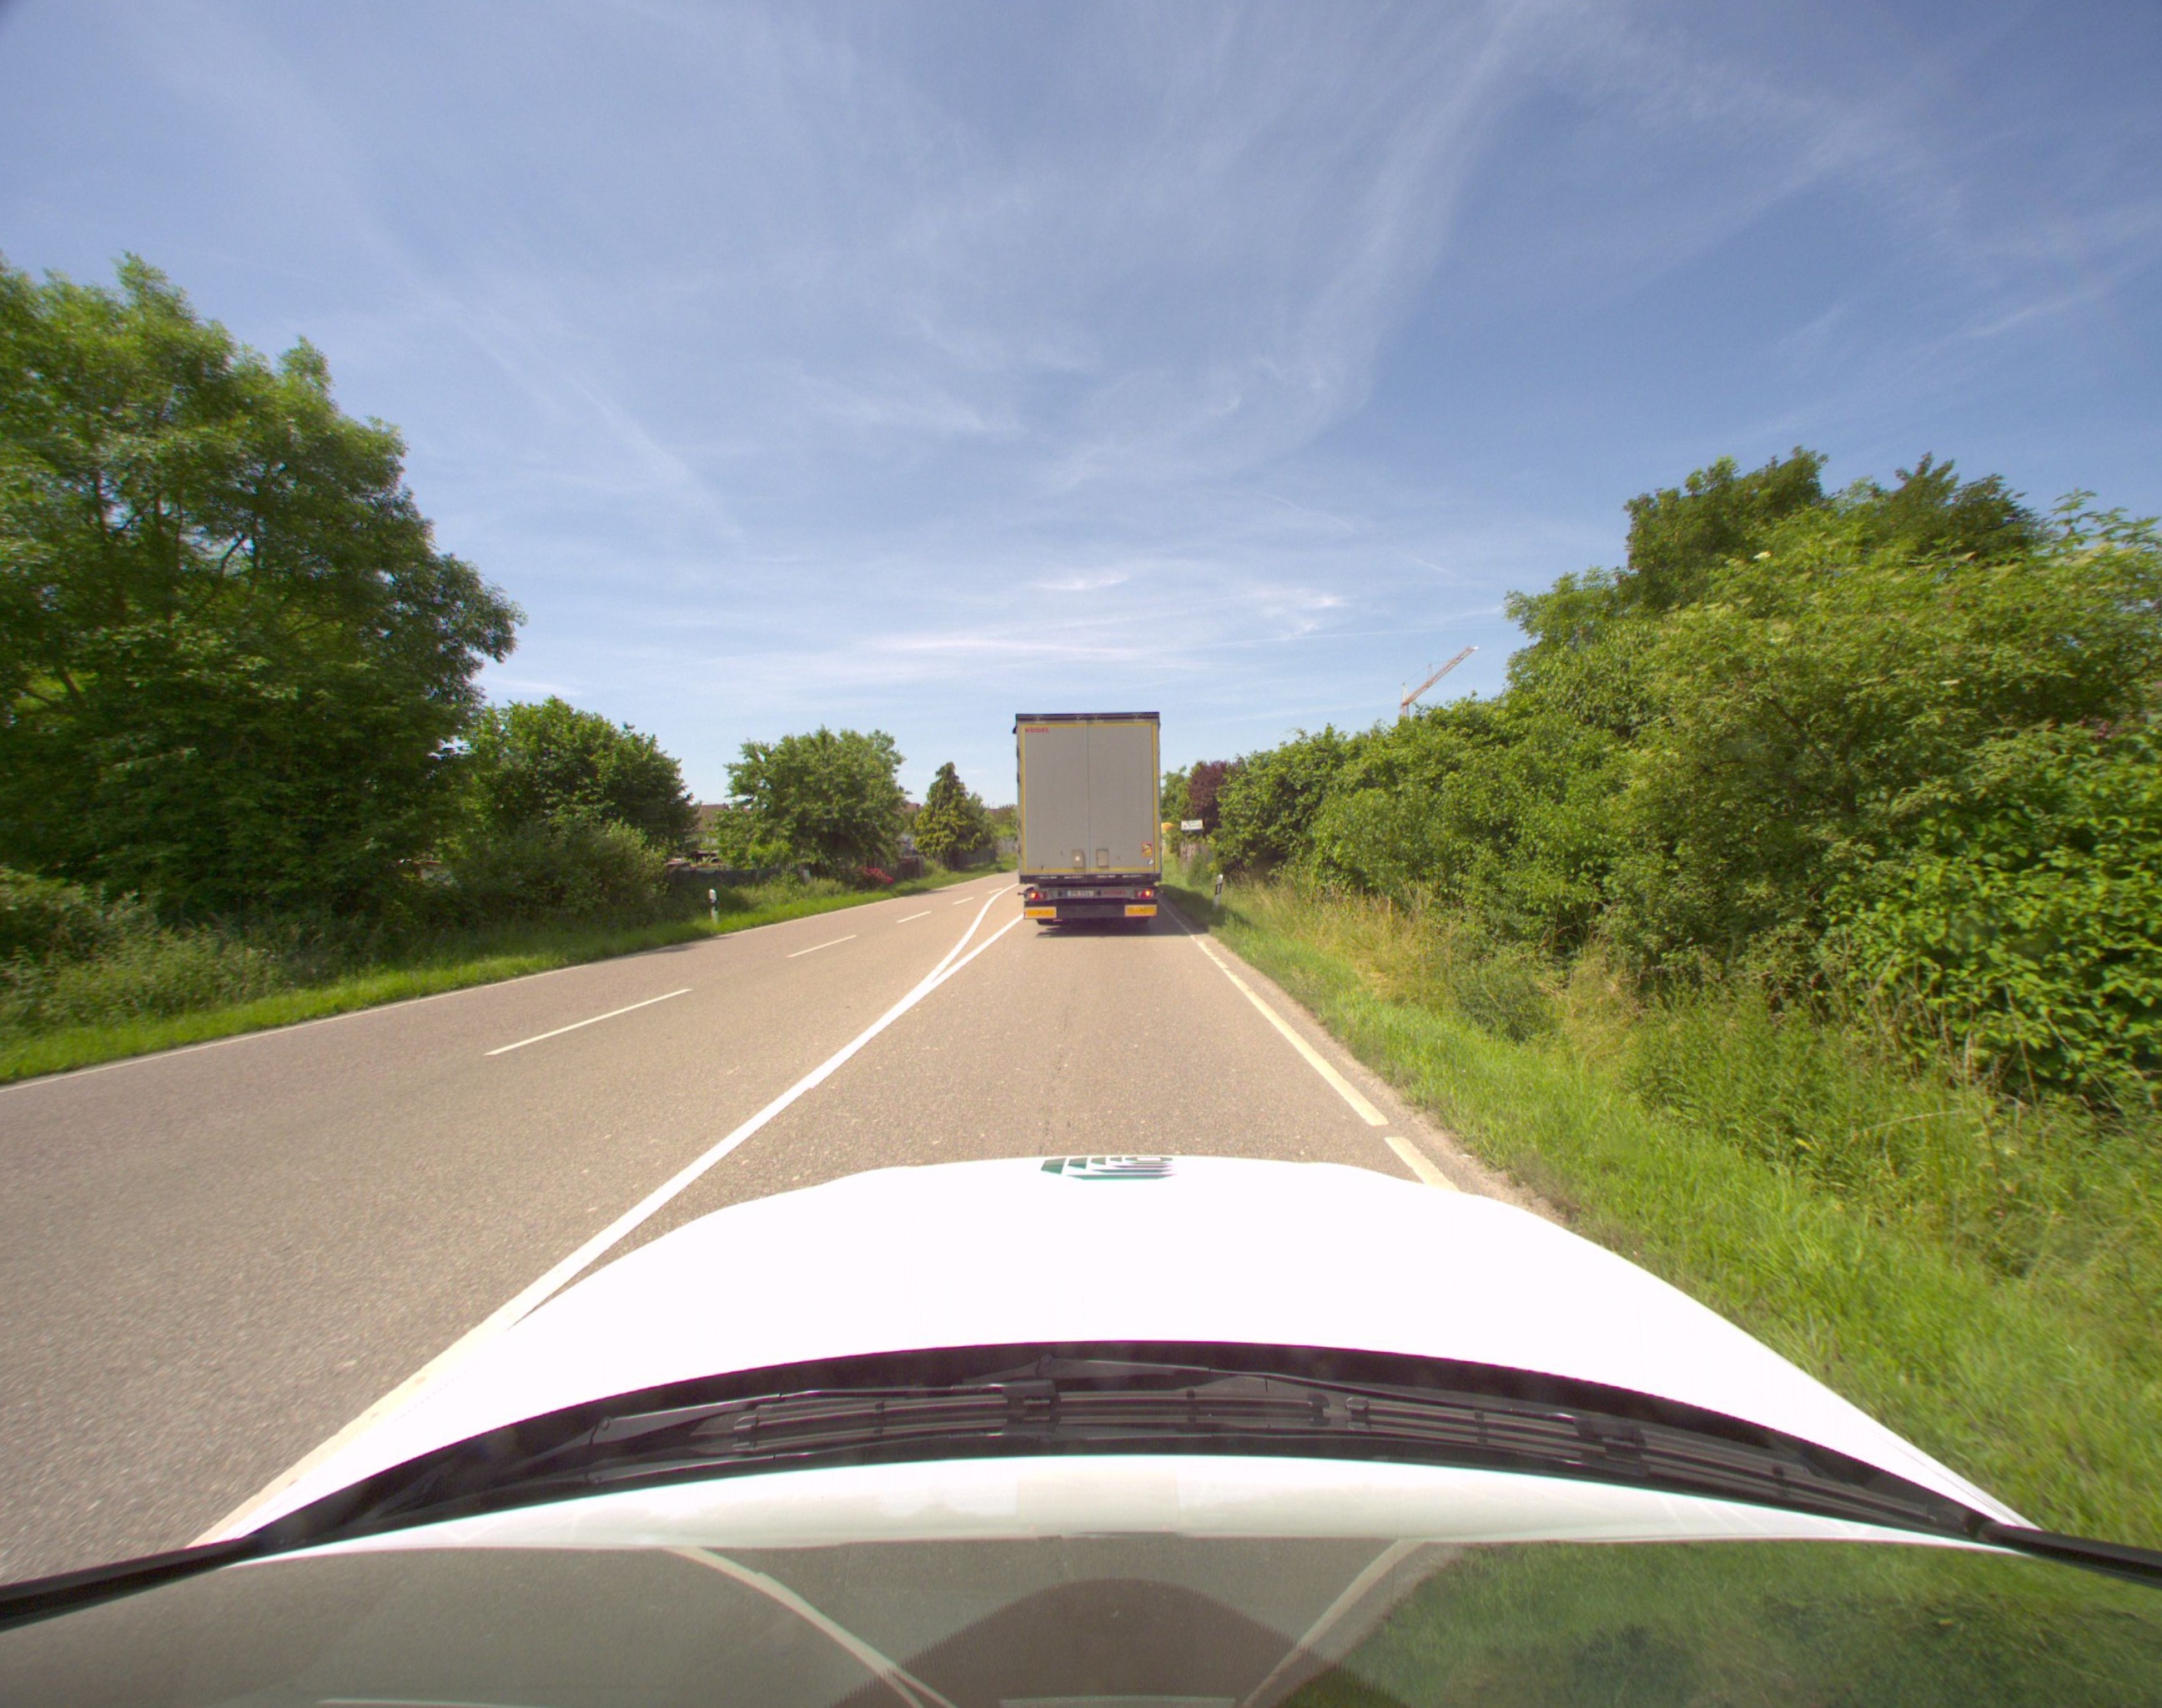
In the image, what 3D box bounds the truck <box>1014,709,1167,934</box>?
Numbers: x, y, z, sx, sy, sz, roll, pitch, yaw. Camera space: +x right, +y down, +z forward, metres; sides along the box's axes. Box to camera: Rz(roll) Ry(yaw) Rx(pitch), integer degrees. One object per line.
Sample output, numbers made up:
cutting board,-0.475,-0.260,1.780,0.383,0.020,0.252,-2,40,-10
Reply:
truck,0.212,-0.579,18.714,2.638,3.917,8.825,-1,0,1
